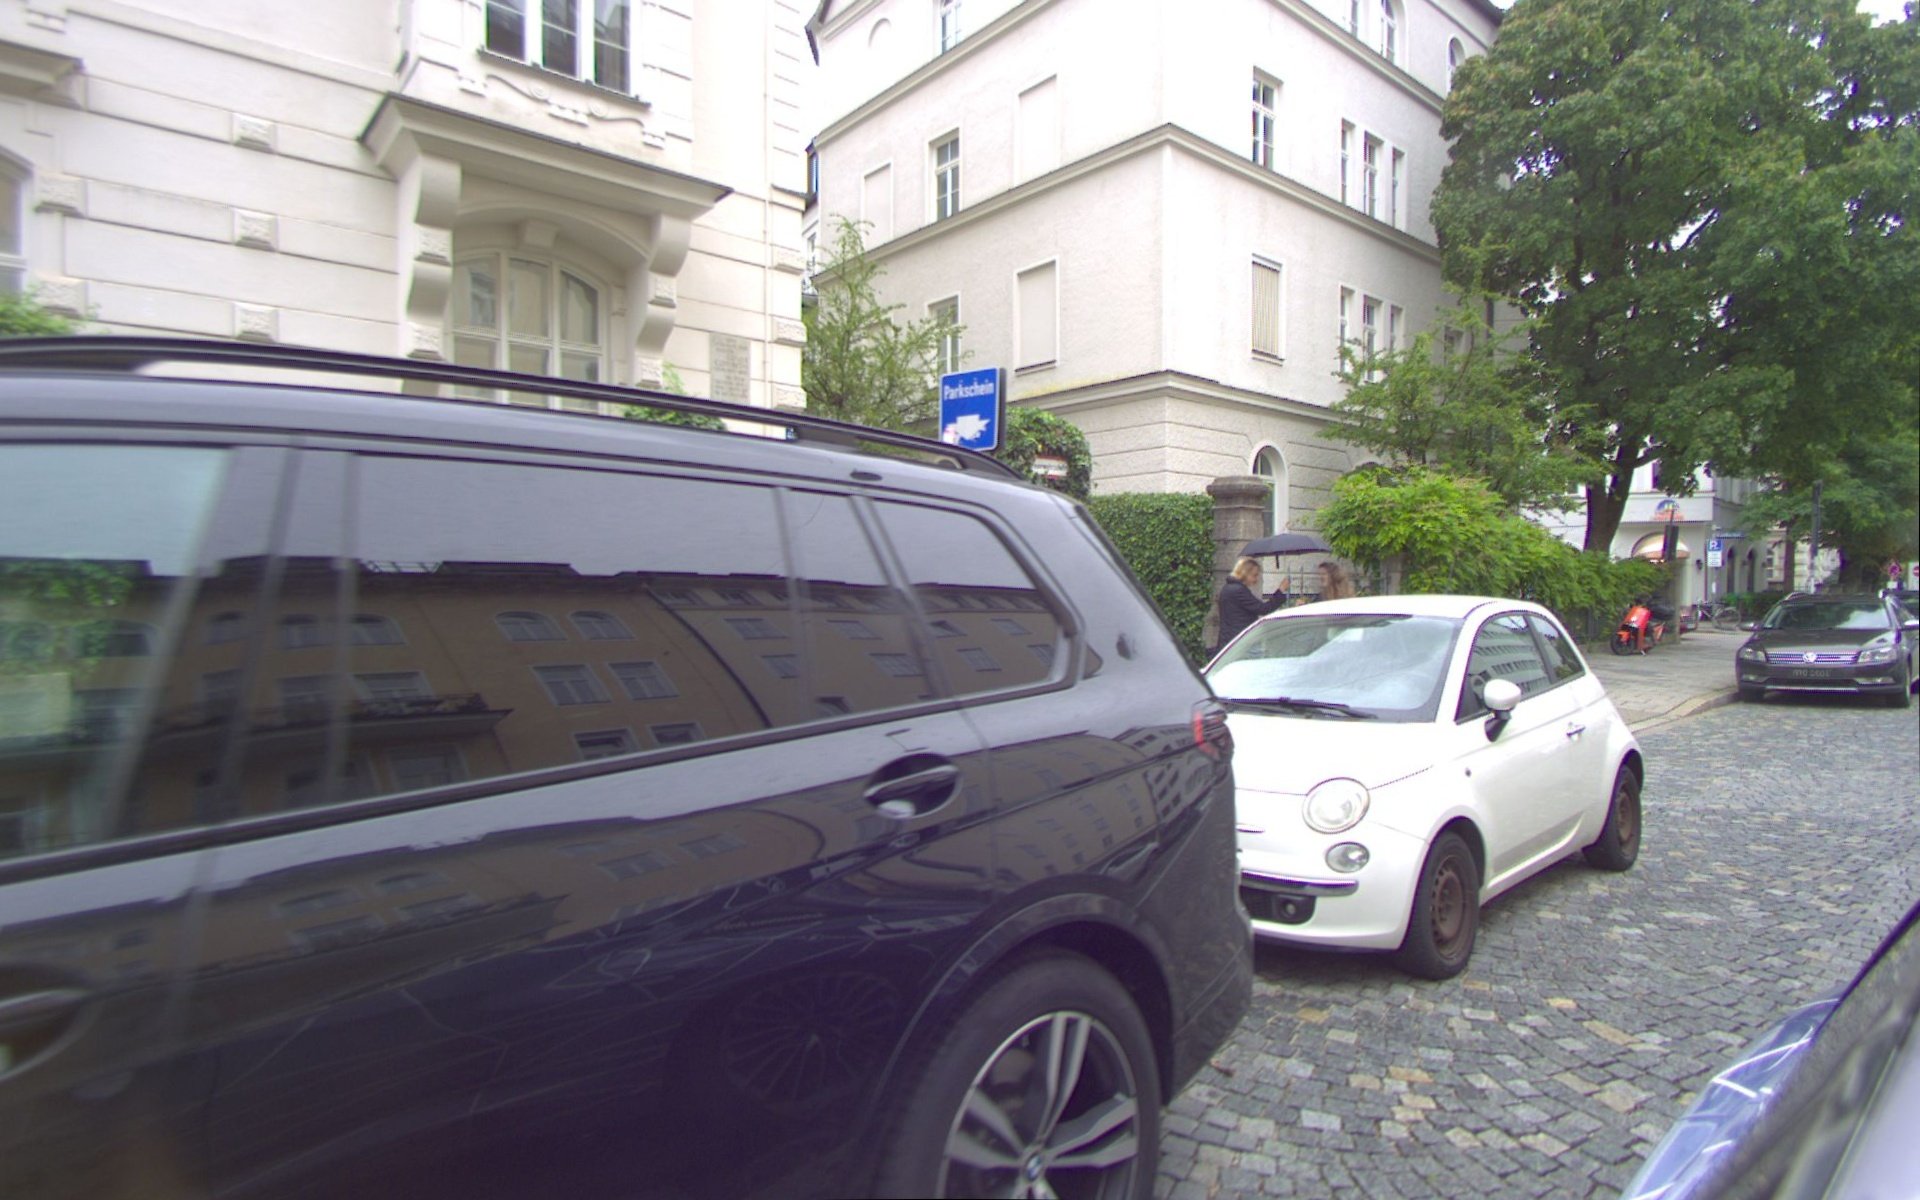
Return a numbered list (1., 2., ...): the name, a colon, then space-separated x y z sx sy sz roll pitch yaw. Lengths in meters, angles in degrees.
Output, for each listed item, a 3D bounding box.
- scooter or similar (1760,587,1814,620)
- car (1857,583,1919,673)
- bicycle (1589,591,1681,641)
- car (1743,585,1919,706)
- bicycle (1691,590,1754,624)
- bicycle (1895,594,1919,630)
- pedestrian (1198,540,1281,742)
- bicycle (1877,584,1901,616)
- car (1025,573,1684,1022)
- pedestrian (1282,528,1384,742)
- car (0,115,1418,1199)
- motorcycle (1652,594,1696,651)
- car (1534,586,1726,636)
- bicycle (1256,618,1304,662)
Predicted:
1. scooter or similar: 31.112 0.103 38.095 0.396 1.187 1.611 -1 2 -17
2. car: 17.604 0.448 18.328 3.728 1.489 1.505 -1 1 -40
3. bicycle: 16.677 0.376 25.049 0.551 1.138 1.846 0 2 -30
4. car: 12.781 0.568 14.479 4.553 1.440 1.649 -2 -2 -42
5. bicycle: 26.787 0.234 35.570 0.726 1.081 1.606 -5 5 -37
6. bicycle: 32.442 0.394 34.553 1.559 1.161 0.389 -1 1 -34
7. pedestrian: 2.655 0.367 9.587 0.624 1.831 0.654 -1 0 27
8. bicycle: 38.206 -0.007 41.610 1.700 1.212 0.429 -1 6 -40
9. car: 2.204 0.655 5.200 3.595 1.488 1.632 -1 -1 -41
10. pedestrian: 3.409 0.295 9.267 0.668 1.873 0.578 0 1 -33
11. car: -1.259 0.407 1.810 5.399 1.694 1.877 -2 1 -43
12. motorcycle: 14.696 0.449 20.821 1.378 1.104 0.363 -1 0 -38
13. car: 19.901 0.279 30.247 1.726 1.375 4.484 -1 1 -33
14. bicycle: 5.358 0.664 16.932 1.019 0.686 0.261 -1 1 -40
